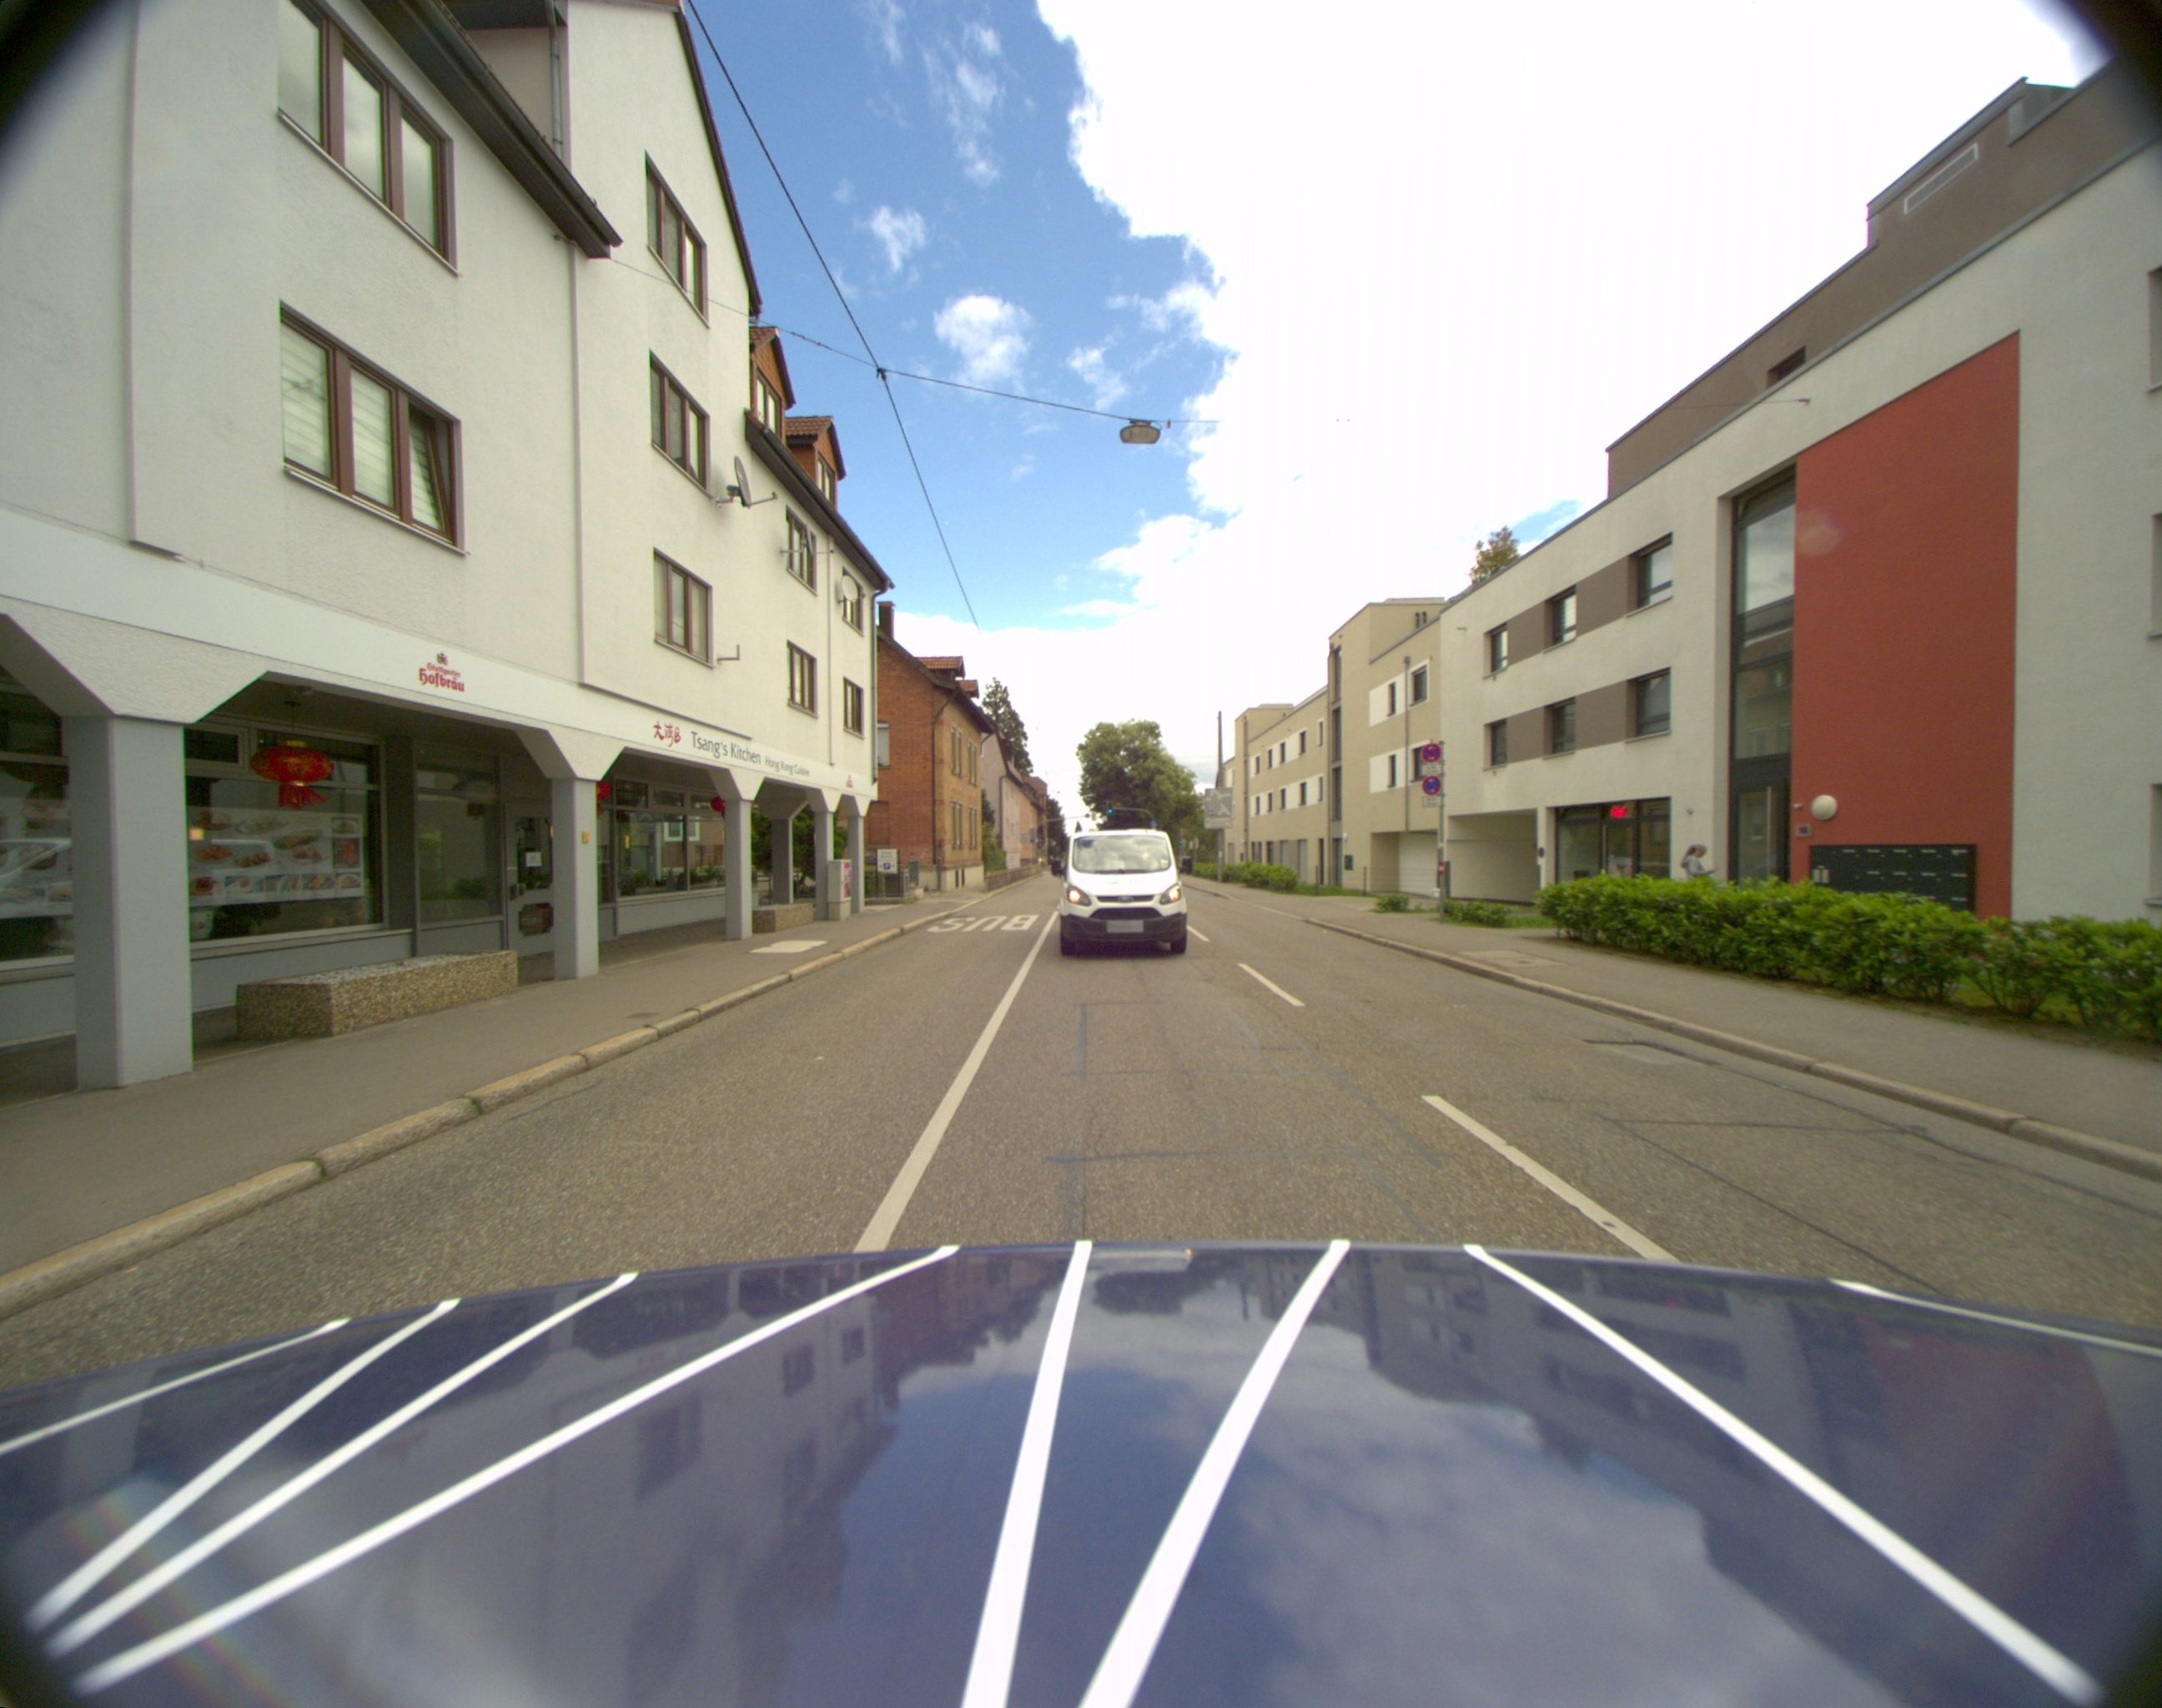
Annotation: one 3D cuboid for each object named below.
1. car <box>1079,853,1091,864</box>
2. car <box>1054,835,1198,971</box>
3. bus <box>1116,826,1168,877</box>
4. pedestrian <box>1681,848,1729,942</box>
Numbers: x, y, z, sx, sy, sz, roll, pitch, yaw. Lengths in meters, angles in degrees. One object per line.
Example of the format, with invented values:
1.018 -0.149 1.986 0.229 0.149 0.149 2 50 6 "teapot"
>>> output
0.582 0.633 110.875 1.755 1.485 3.986 0 0 0 "car"
0.651 0.695 13.469 2.062 1.945 5.060 0 0 0 "car"
4.256 -0.179 55.414 2.950 3.255 12.008 1 0 1 "bus"
11.081 0.712 13.510 0.519 1.633 0.641 0 1 25 "pedestrian"
